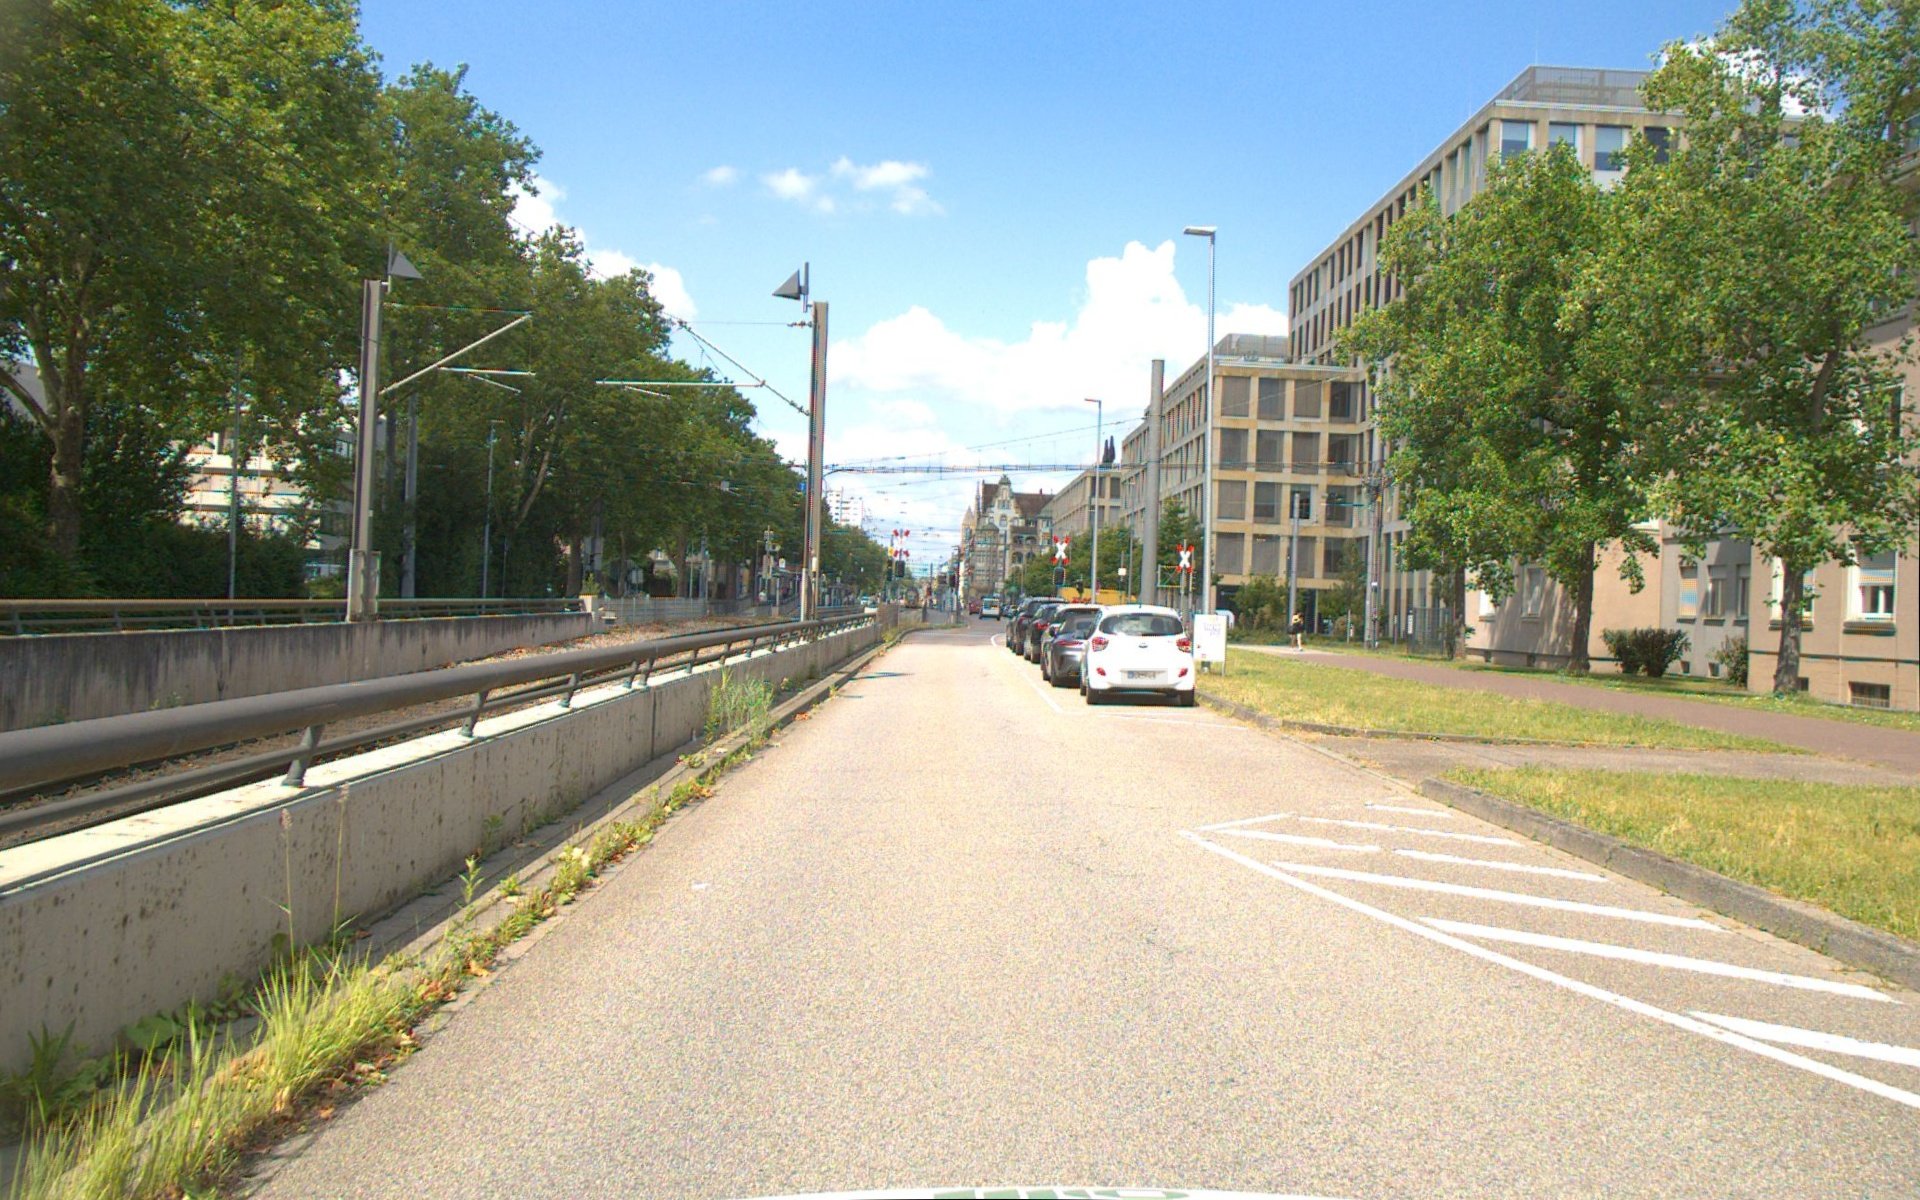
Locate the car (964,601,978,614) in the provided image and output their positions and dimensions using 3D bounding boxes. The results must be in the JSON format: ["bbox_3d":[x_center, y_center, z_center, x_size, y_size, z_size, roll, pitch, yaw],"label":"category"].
[{"bbox_3d":[1.274,0.924,196.714,1.414,1.496,4.090,0,0,-3],"label":"car"}]

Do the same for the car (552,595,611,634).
[{"bbox_3d":[-16.512,0.604,72.392,1.633,1.625,4.297,1,0,-1],"label":"car"}]

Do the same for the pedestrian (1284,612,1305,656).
[{"bbox_3d":[12.598,1.263,62.313,0.610,1.636,0.624,1,-1,-4],"label":"pedestrian"}]

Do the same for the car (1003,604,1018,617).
[{"bbox_3d":[6.087,1.244,200.456,1.559,1.485,3.612,4,0,0],"label":"car"}]

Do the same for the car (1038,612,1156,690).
[{"bbox_3d":[2.536,0.924,31.530,1.787,1.335,4.441,2,0,-1],"label":"car"}]

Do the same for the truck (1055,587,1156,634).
[{"bbox_3d":[10.137,0.731,115.427,6.671,2.917,2.453,2,-1,-4],"label":"truck"}]

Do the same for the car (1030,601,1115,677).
[{"bbox_3d":[2.431,0.822,36.385,1.635,1.541,3.851,1,0,1],"label":"car"}]

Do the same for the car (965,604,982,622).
[{"bbox_3d":[1.563,1.585,196.387,1.953,2.049,3.999,1,-1,-1],"label":"car"}]

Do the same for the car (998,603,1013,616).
[{"bbox_3d":[5.821,1.195,211.559,1.560,1.459,4.105,4,0,-3],"label":"car"}]

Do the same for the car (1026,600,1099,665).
[{"bbox_3d":[2.597,0.812,42.507,1.611,1.557,4.442,1,0,0],"label":"car"}]

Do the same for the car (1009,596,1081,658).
[{"bbox_3d":[2.451,0.749,48.603,1.779,1.691,4.669,1,0,-1],"label":"car"}]

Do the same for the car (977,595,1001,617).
[{"bbox_3d":[2.496,0.546,144.771,1.831,1.777,3.998,4,-1,-2],"label":"car"}]

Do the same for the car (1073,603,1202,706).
[{"bbox_3d":[2.783,0.828,26.587,1.672,1.505,3.789,1,0,0],"label":"car"}]
